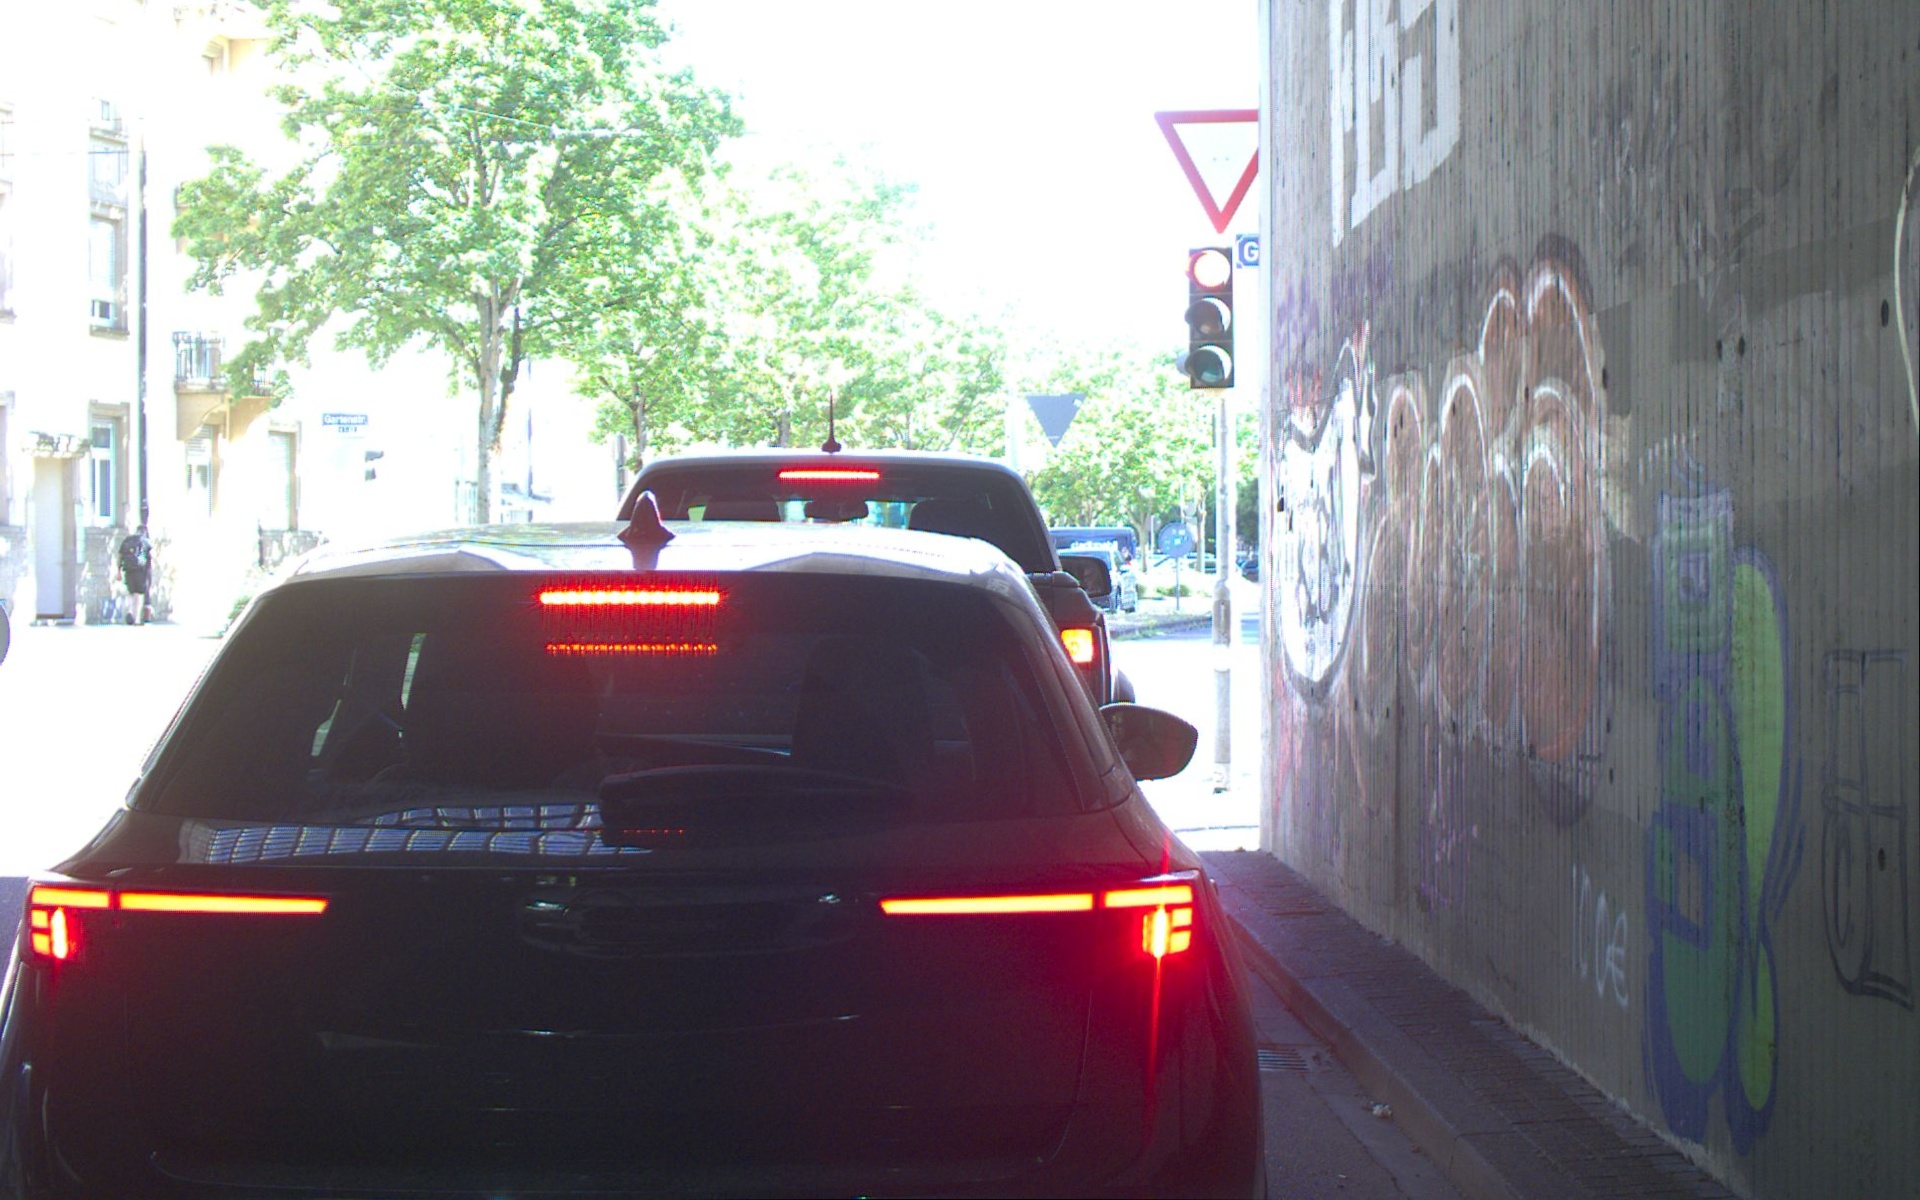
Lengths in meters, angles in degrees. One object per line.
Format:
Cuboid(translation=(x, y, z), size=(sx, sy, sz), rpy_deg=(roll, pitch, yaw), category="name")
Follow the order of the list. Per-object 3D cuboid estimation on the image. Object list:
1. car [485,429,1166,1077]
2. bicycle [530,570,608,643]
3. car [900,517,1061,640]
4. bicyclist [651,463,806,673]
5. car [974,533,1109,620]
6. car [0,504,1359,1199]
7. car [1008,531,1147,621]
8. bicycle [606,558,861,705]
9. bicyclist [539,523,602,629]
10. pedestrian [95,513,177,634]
Cuboid(translation=(-0.409, 0.404, 11.895), size=(1.945, 1.853, 3.964), rpy_deg=(0, 1, -1), category="car")
Cuboid(translation=(-5.853, 0.094, 51.519), size=(0.732, 1.064, 1.688), rpy_deg=(1, 1, 9), category="bicycle")
Cuboid(translation=(0.302, -0.245, 44.177), size=(1.968, 1.492, 3.896), rpy_deg=(0, -1, 1), category="car")
Cuboid(translation=(-1.814, -0.255, 26.996), size=(1.093, 1.613, 0.629), rpy_deg=(1, 0, 7), category="bicyclist")
Cuboid(translation=(1.510, -0.398, 62.199), size=(1.969, 1.492, 3.895), rpy_deg=(0, -1, 9), category="car")
Cuboid(translation=(-0.488, 0.622, 6.073), size=(1.882, 1.532, 3.964), rpy_deg=(0, 1, -1), category="car")
Cuboid(translation=(2.395, -0.455, 69.009), size=(2.221, 1.713, 4.458), rpy_deg=(0, -1, 10), category="car")
Cuboid(translation=(-1.769, 0.241, 26.990), size=(1.903, 1.110, 0.611), rpy_deg=(1, 0, 7), category="bicycle")
Cuboid(translation=(-5.835, -0.362, 51.544), size=(0.729, 1.576, 0.814), rpy_deg=(1, 0, 9), category="bicyclist")
Cuboid(translation=(-13.777, -0.447, 57.501), size=(0.992, 2.007, 1.088), rpy_deg=(0, 1, 8), category="pedestrian")
